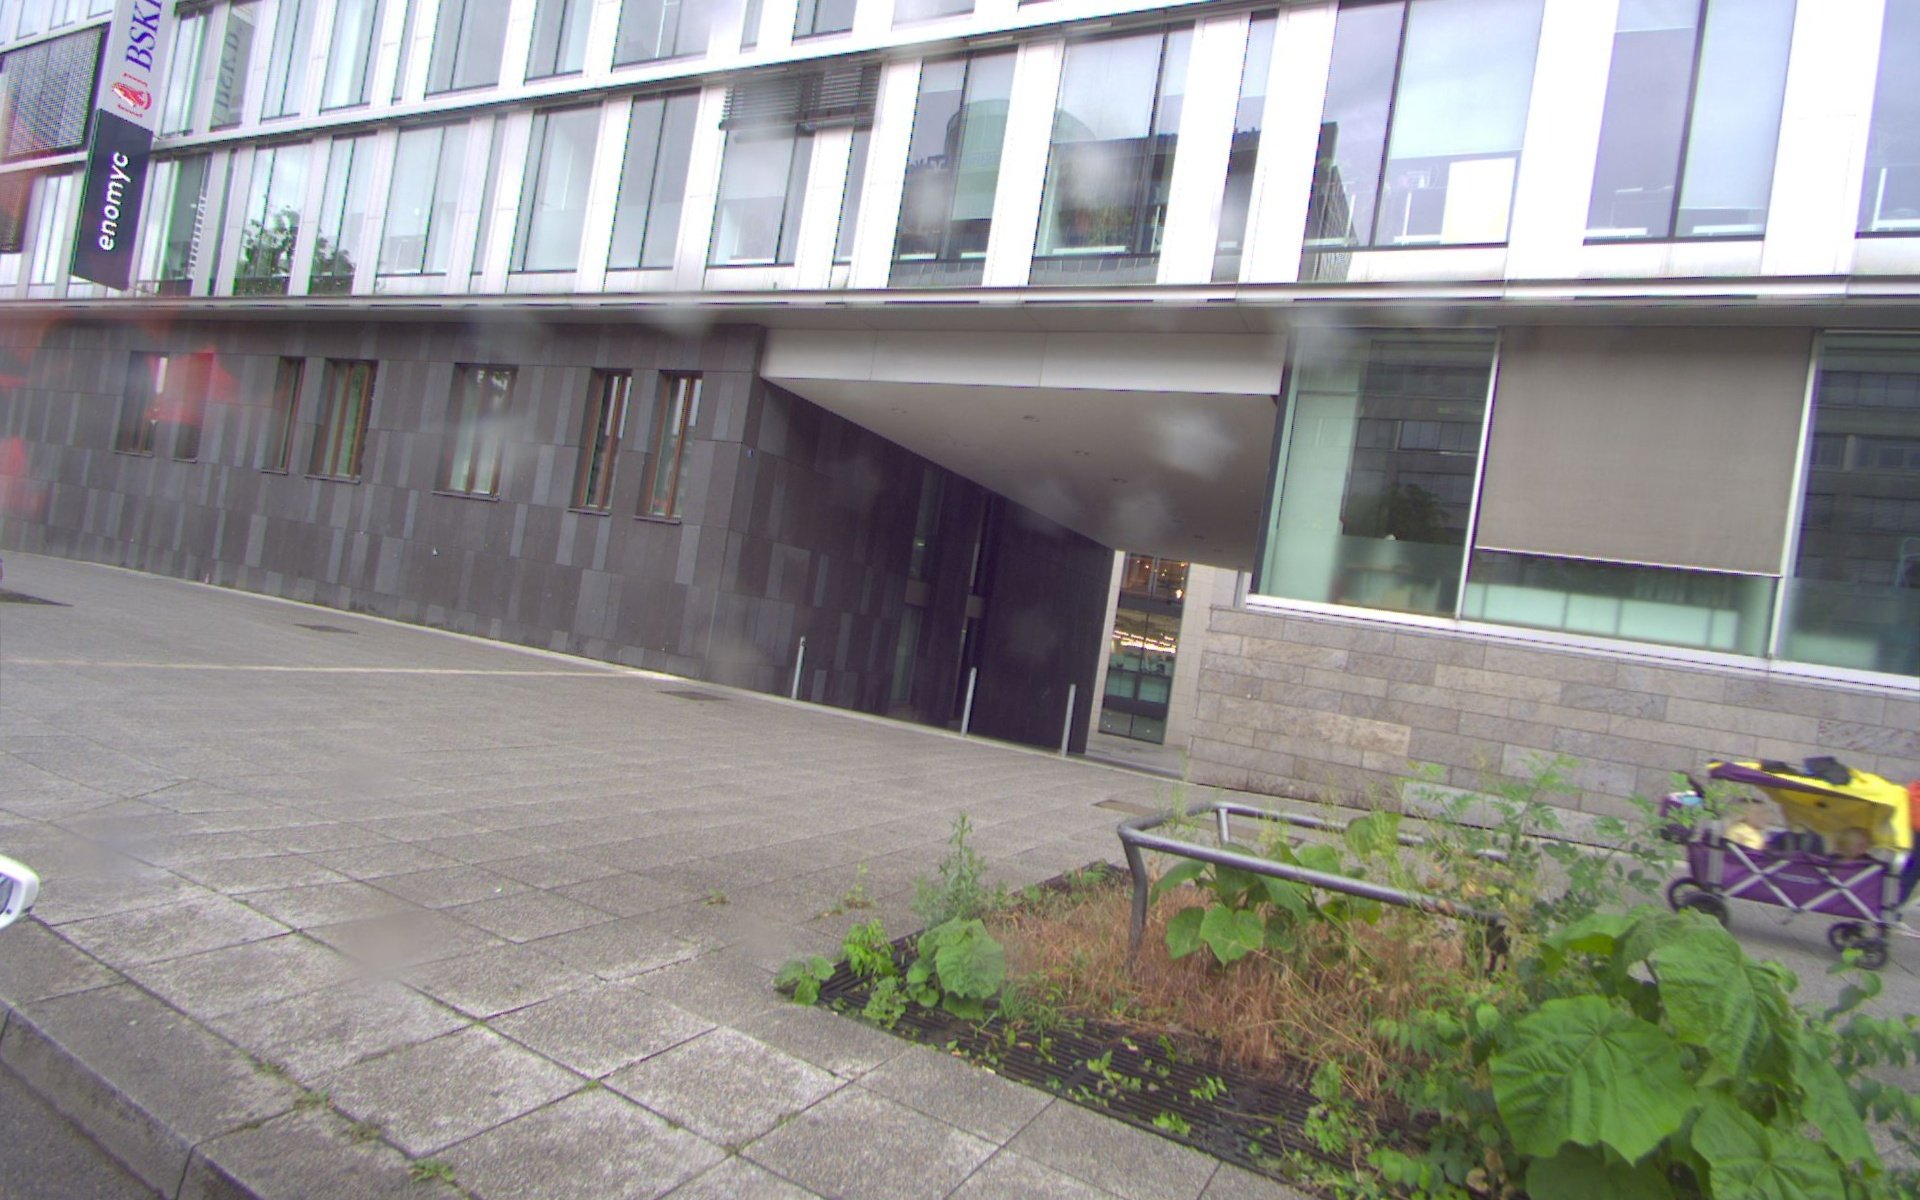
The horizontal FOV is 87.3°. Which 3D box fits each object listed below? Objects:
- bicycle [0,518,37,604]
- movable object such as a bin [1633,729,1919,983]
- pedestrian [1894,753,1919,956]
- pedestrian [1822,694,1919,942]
[{"bbox_3d":[-13.068,-0.631,12.253,0.665,1.069,2.543,7,-2,27],"label":"bicycle"},{"bbox_3d":[5.503,1.639,6.748,1.419,1.279,0.733,9,0,29],"label":"movable object such as a bin"},{"bbox_3d":[6.829,1.485,6.307,1.028,1.814,0.901,7,1,26],"label":"pedestrian"},{"bbox_3d":[7.290,1.637,7.434,1.080,1.712,0.719,7,1,27],"label":"pedestrian"}]
